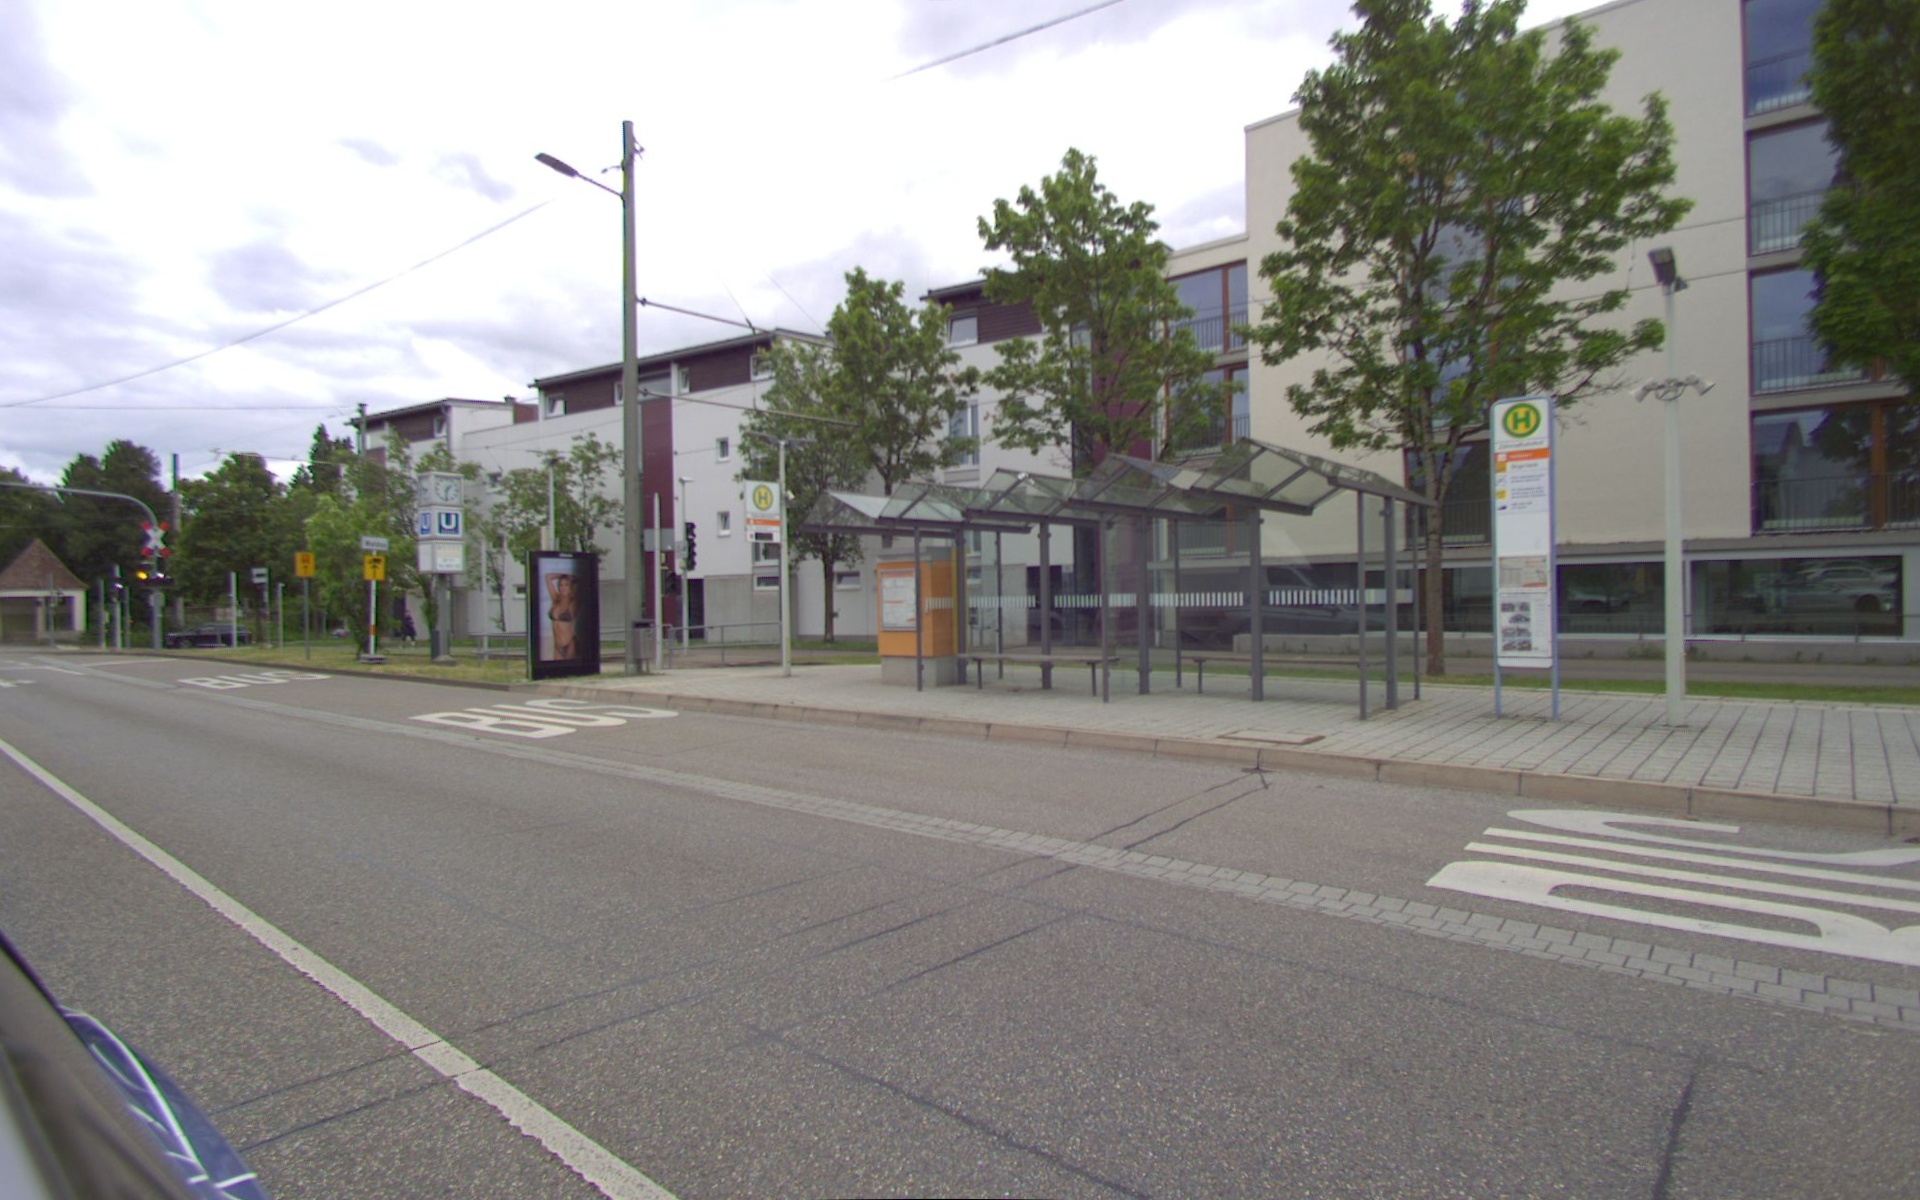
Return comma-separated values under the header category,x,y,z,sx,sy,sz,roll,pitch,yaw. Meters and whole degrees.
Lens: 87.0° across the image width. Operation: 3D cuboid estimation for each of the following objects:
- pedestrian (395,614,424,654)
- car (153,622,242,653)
category,x,y,z,sx,sy,sz,roll,pitch,yaw
pedestrian,-22.699,1.393,41.743,0.778,1.607,0.773,-1,0,32
car,-46.613,2.275,61.928,1.925,1.719,3.950,-1,0,37
